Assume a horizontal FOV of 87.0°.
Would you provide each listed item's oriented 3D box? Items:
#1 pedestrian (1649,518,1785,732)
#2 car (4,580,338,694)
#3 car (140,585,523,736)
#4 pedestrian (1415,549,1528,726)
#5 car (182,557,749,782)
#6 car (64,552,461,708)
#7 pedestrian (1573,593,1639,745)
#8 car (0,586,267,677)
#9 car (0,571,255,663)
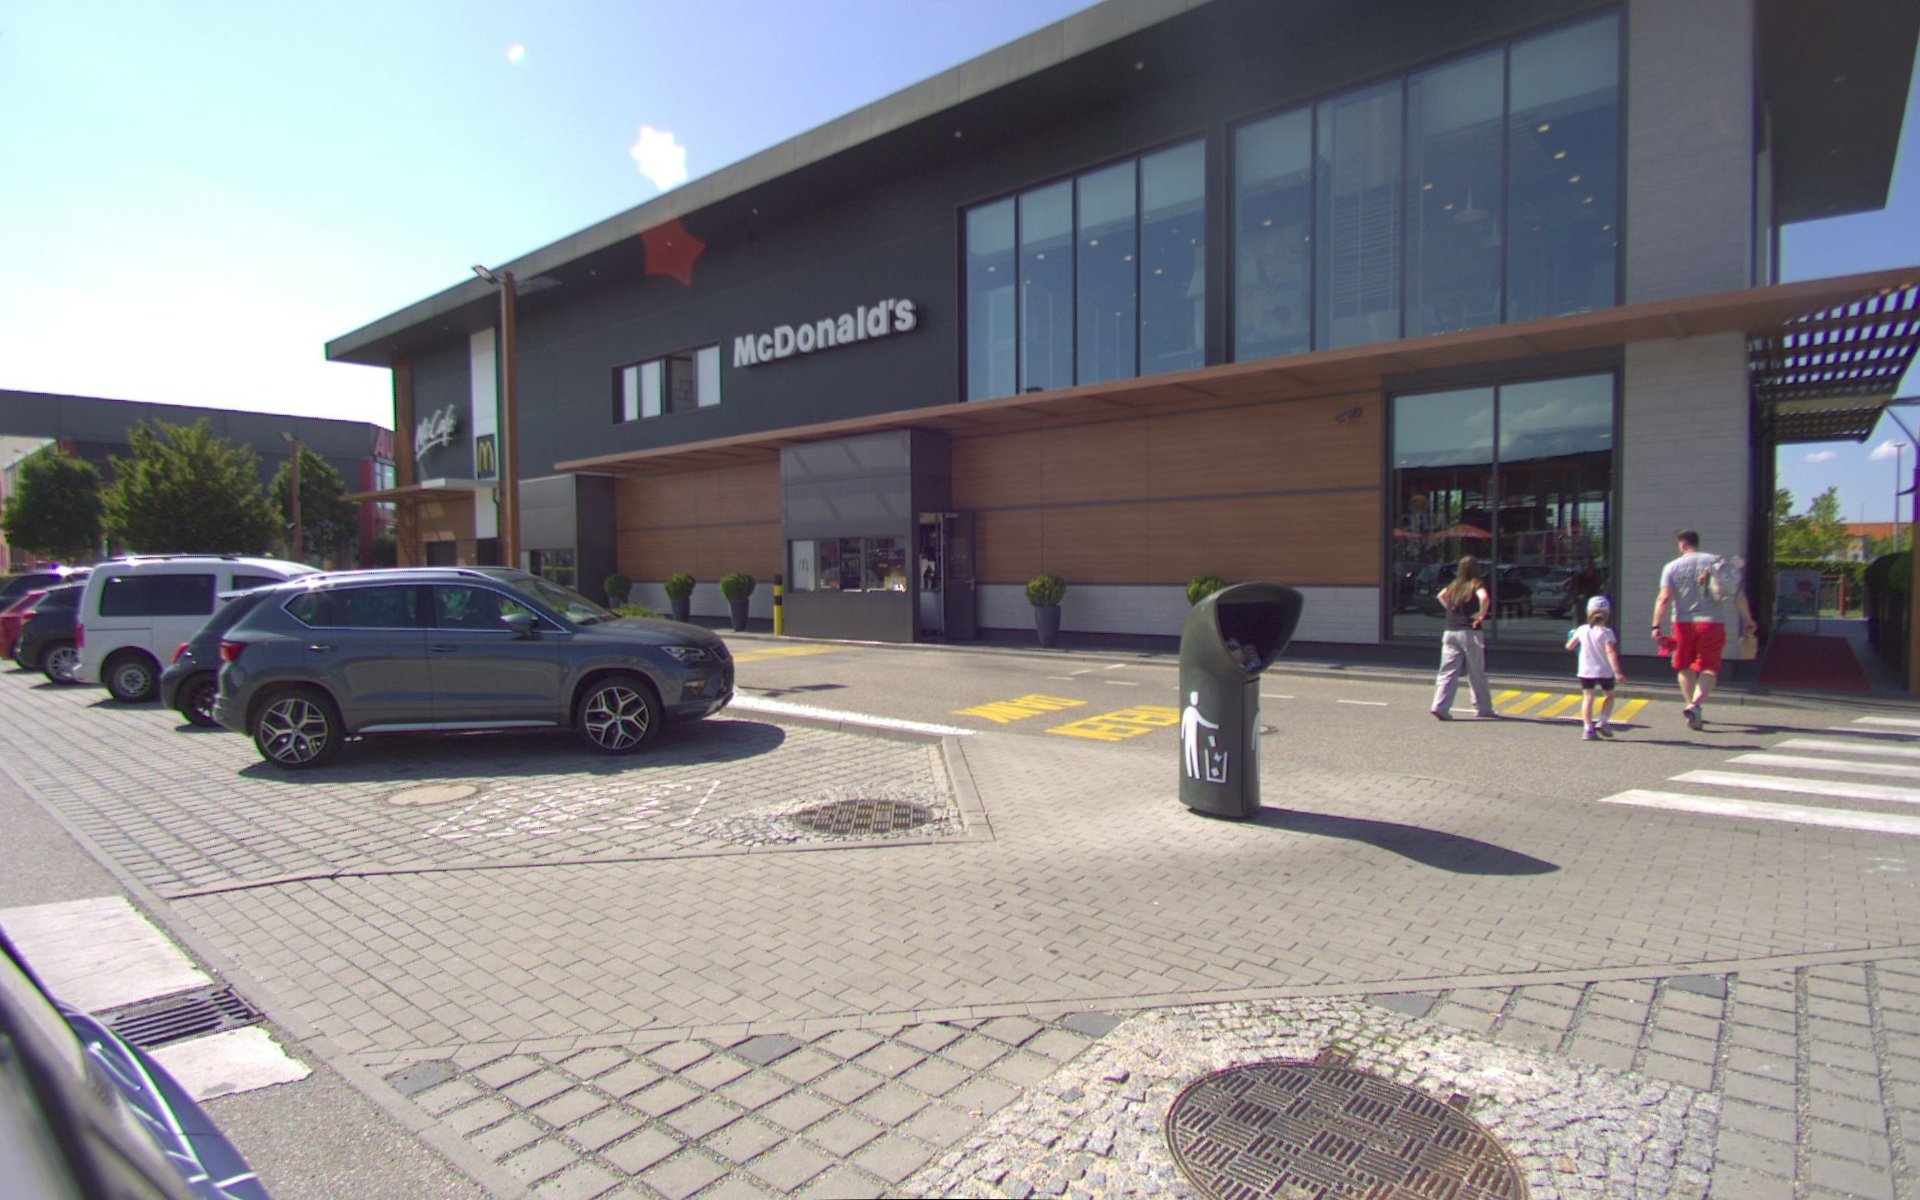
[{"bbox_3d":[6.686,0.198,8.987,0.894,1.781,0.795,0,1,32],"label":"pedestrian"},{"bbox_3d":[-12.307,0.512,16.073,3.779,1.644,1.763,-1,1,-16],"label":"car"},{"bbox_3d":[-6.963,0.610,11.557,3.359,1.493,1.572,-1,1,-12],"label":"car"},{"bbox_3d":[4.874,0.329,9.649,0.717,1.595,0.743,-1,1,-40],"label":"pedestrian"},{"bbox_3d":[-4.157,0.515,9.125,4.164,1.615,1.793,-2,3,-4],"label":"car"},{"bbox_3d":[-9.271,0.338,13.795,4.078,1.936,1.762,-1,1,-10],"label":"car"},{"bbox_3d":[5.342,0.547,8.367,0.447,1.195,0.486,0,1,34],"label":"pedestrian"},{"bbox_3d":[-15.077,0.519,18.463,3.707,1.454,1.681,-2,1,-21],"label":"car"},{"bbox_3d":[-17.081,0.298,20.727,3.973,1.718,1.679,-1,2,-12],"label":"car"}]
